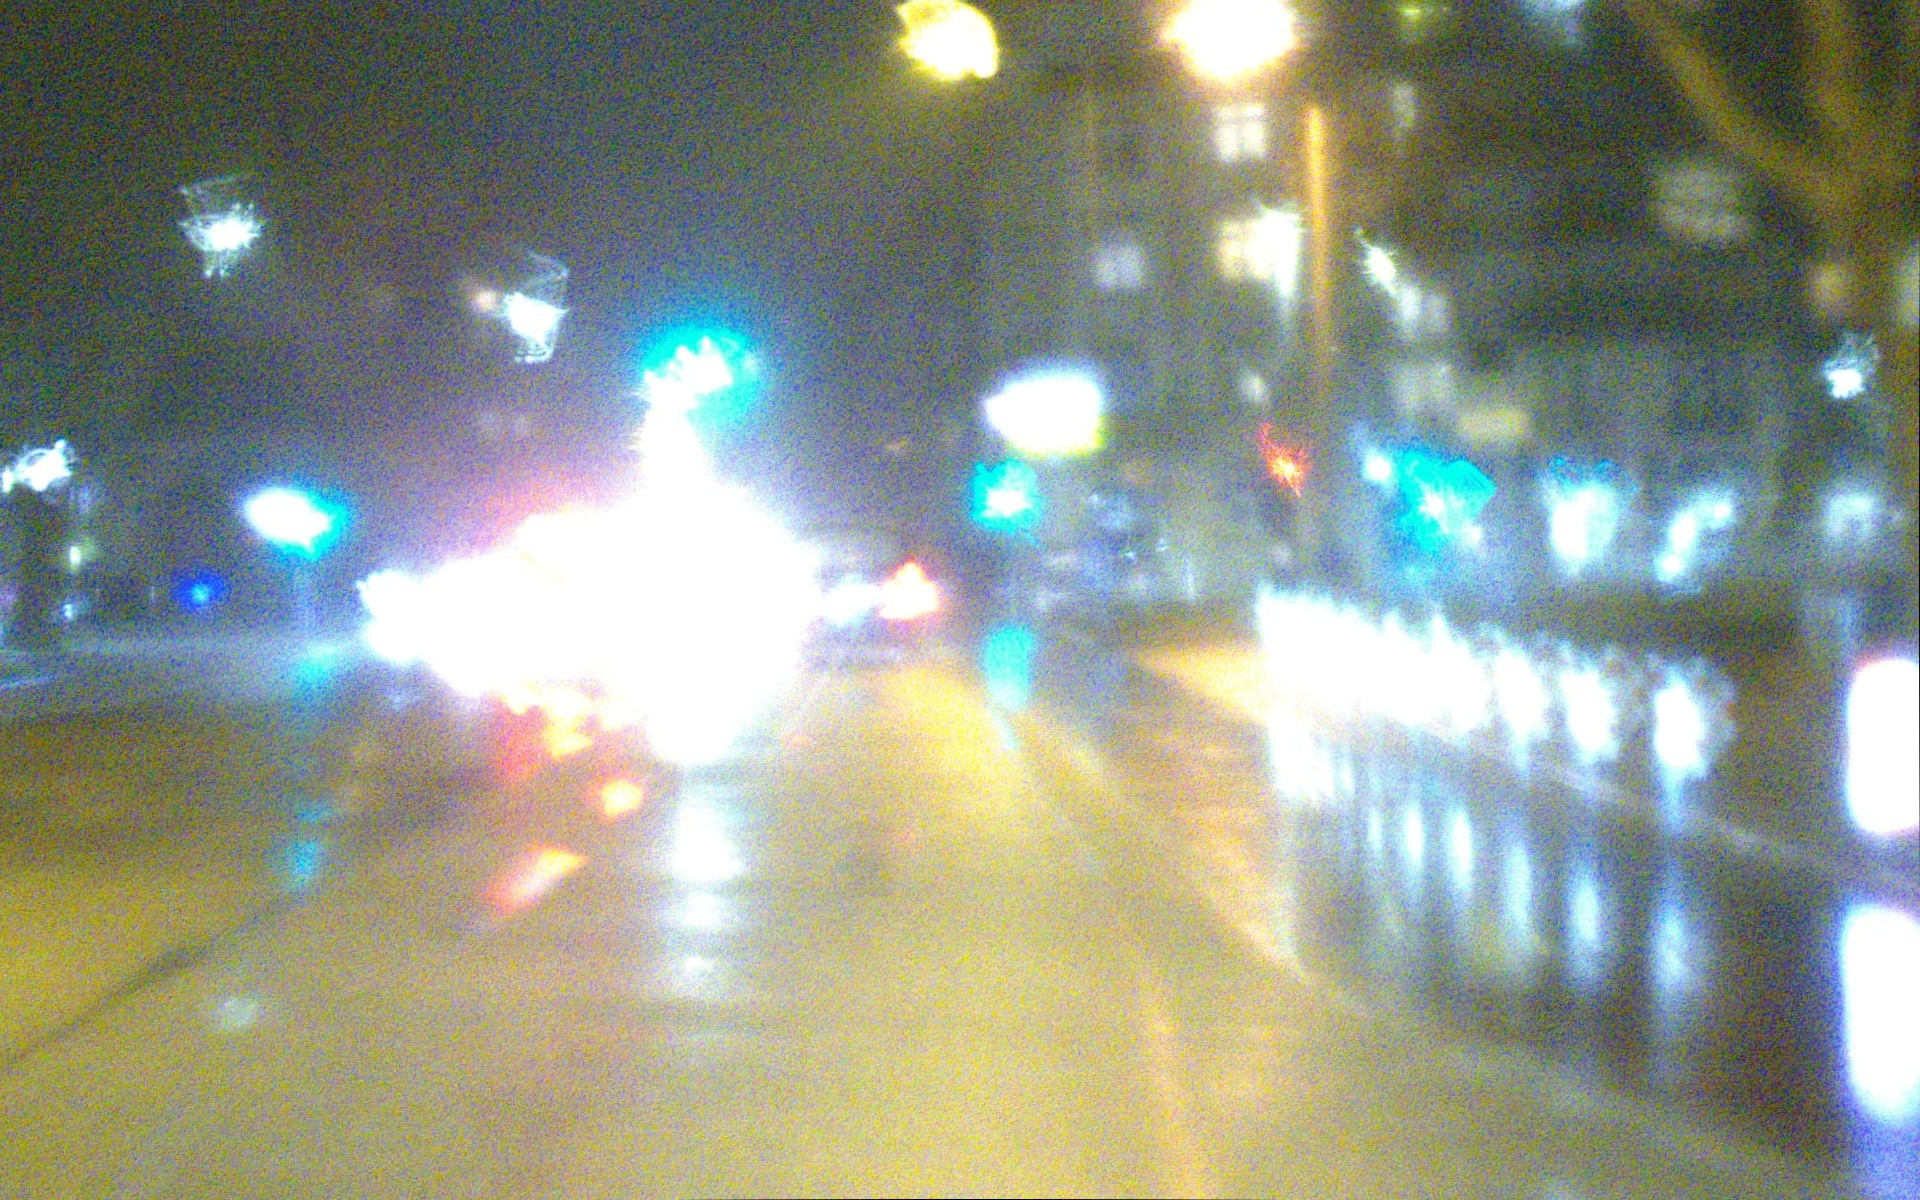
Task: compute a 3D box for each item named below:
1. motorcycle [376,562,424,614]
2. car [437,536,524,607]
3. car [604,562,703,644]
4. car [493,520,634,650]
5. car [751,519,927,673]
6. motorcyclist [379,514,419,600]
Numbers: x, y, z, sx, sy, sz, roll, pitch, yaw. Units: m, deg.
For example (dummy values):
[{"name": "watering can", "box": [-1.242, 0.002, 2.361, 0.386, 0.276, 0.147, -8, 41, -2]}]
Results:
[{"name": "motorcycle", "box": [-13.215, -0.294, 81.144, 0.701, 1.134, 2.176, -2, 2, 1]}, {"name": "car", "box": [-11.116, -0.683, 79.930, 1.852, 1.494, 4.771, -2, 2, -7]}, {"name": "car", "box": [-6.163, 0.032, 68.716, 1.817, 1.537, 4.727, -2, 1, -6]}, {"name": "car", "box": [-6.743, -0.305, 58.944, 2.034, 1.946, 5.201, -4, 2, -4]}, {"name": "car", "box": [-1.751, -0.083, 48.133, 2.168, 1.965, 4.303, -2, 1, -5]}, {"name": "motorcyclist", "box": [-13.234, -1.017, 81.128, 0.693, 2.006, 0.983, -2, 1, 1]}]
